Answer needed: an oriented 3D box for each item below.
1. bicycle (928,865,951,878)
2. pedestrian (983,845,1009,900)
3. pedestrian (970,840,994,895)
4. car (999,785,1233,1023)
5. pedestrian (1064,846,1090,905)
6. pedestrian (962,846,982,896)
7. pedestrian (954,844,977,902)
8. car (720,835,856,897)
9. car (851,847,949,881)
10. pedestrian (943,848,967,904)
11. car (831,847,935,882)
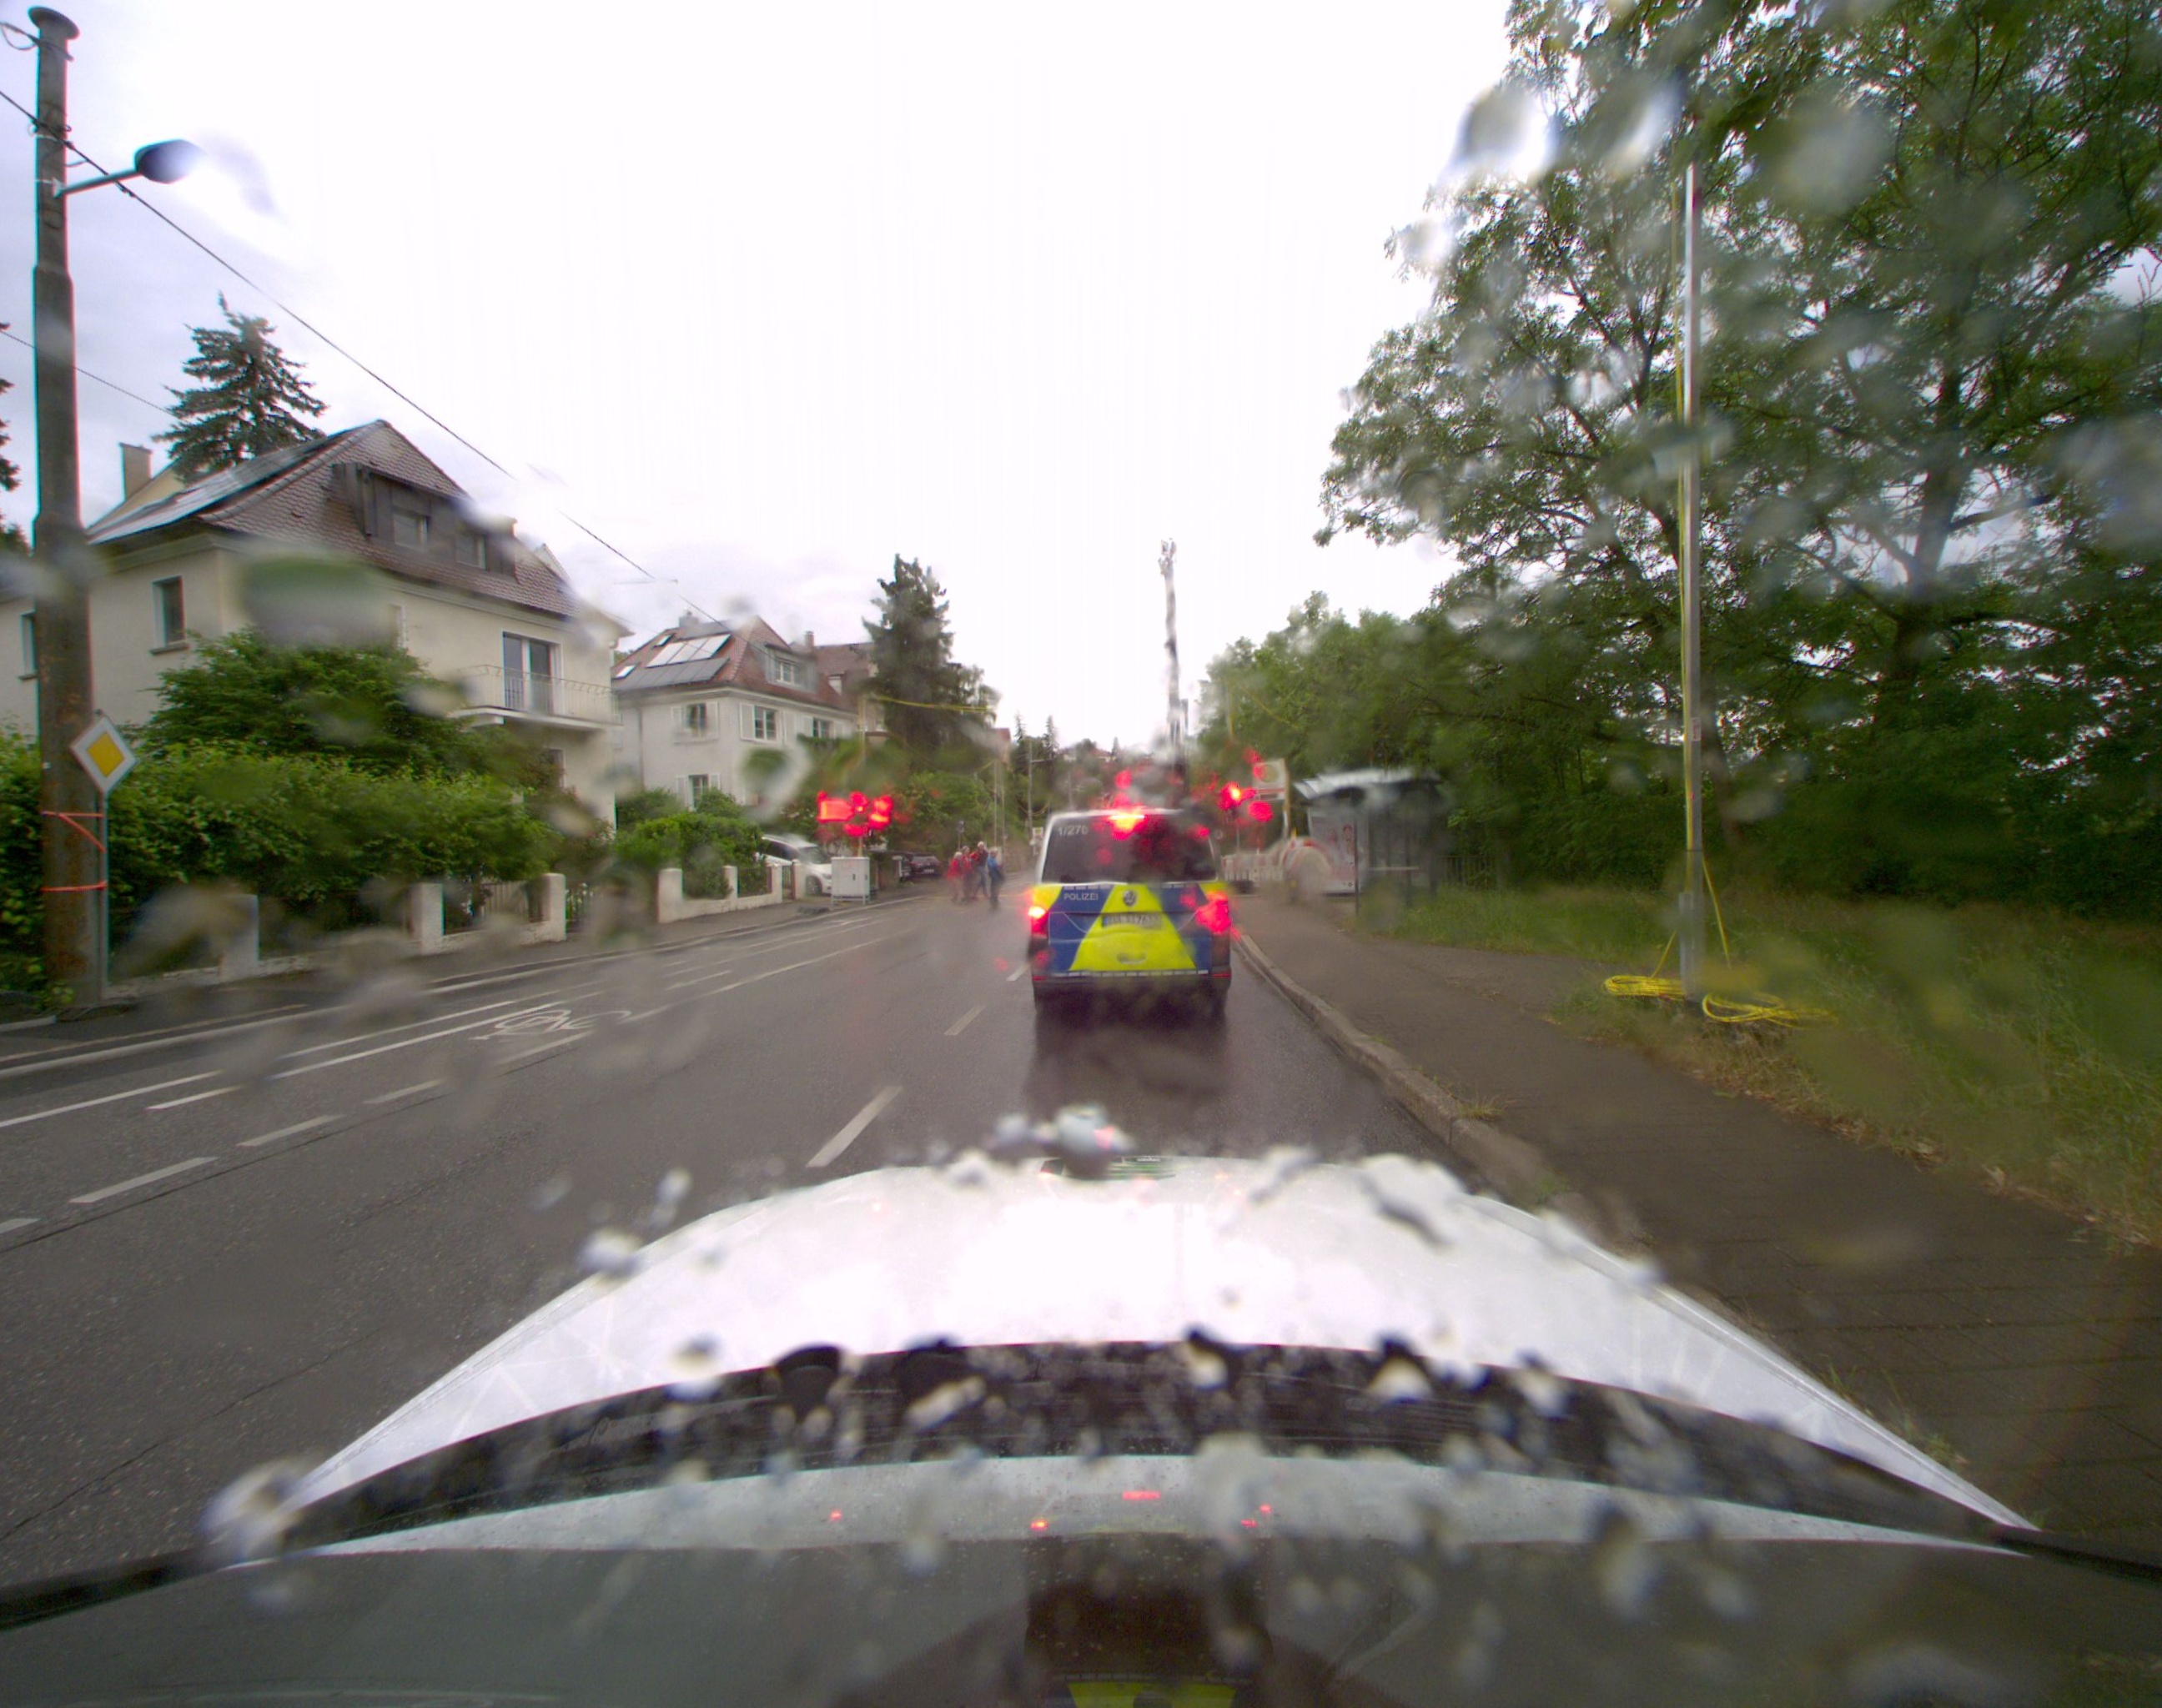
[{"bbox_3d":[-7.000,0.876,40.345,1.046,0.662,0.321,0,-2,12],"label":"bicycle"},{"bbox_3d":[-2.353,0.516,22.567,0.623,1.522,0.593,0,-2,4],"label":"pedestrian"},{"bbox_3d":[-3.129,0.440,25.733,0.623,1.715,0.593,0,-2,4],"label":"pedestrian"},{"bbox_3d":[0.551,0.413,9.174,1.983,2.013,4.410,-1,1,7],"label":"car"},{"bbox_3d":[-0.108,0.583,22.521,0.683,1.604,0.606,0,-2,0],"label":"pedestrian"},{"bbox_3d":[-3.323,0.510,24.879,0.523,1.507,0.429,0,-2,3],"label":"pedestrian"},{"bbox_3d":[-3.375,0.564,23.803,0.546,1.668,0.414,0,-2,3],"label":"pedestrian"},{"bbox_3d":[-10.004,0.419,27.911,3.959,2.013,1.837,-1,0,13],"label":"car"},{"bbox_3d":[-8.305,0.478,37.473,3.960,1.486,1.765,0,-2,12],"label":"car"},{"bbox_3d":[-3.599,0.618,23.300,0.560,1.582,0.468,0,-2,3],"label":"pedestrian"},{"bbox_3d":[-8.559,0.455,35.329,3.960,1.486,1.765,0,-2,12],"label":"car"}]
